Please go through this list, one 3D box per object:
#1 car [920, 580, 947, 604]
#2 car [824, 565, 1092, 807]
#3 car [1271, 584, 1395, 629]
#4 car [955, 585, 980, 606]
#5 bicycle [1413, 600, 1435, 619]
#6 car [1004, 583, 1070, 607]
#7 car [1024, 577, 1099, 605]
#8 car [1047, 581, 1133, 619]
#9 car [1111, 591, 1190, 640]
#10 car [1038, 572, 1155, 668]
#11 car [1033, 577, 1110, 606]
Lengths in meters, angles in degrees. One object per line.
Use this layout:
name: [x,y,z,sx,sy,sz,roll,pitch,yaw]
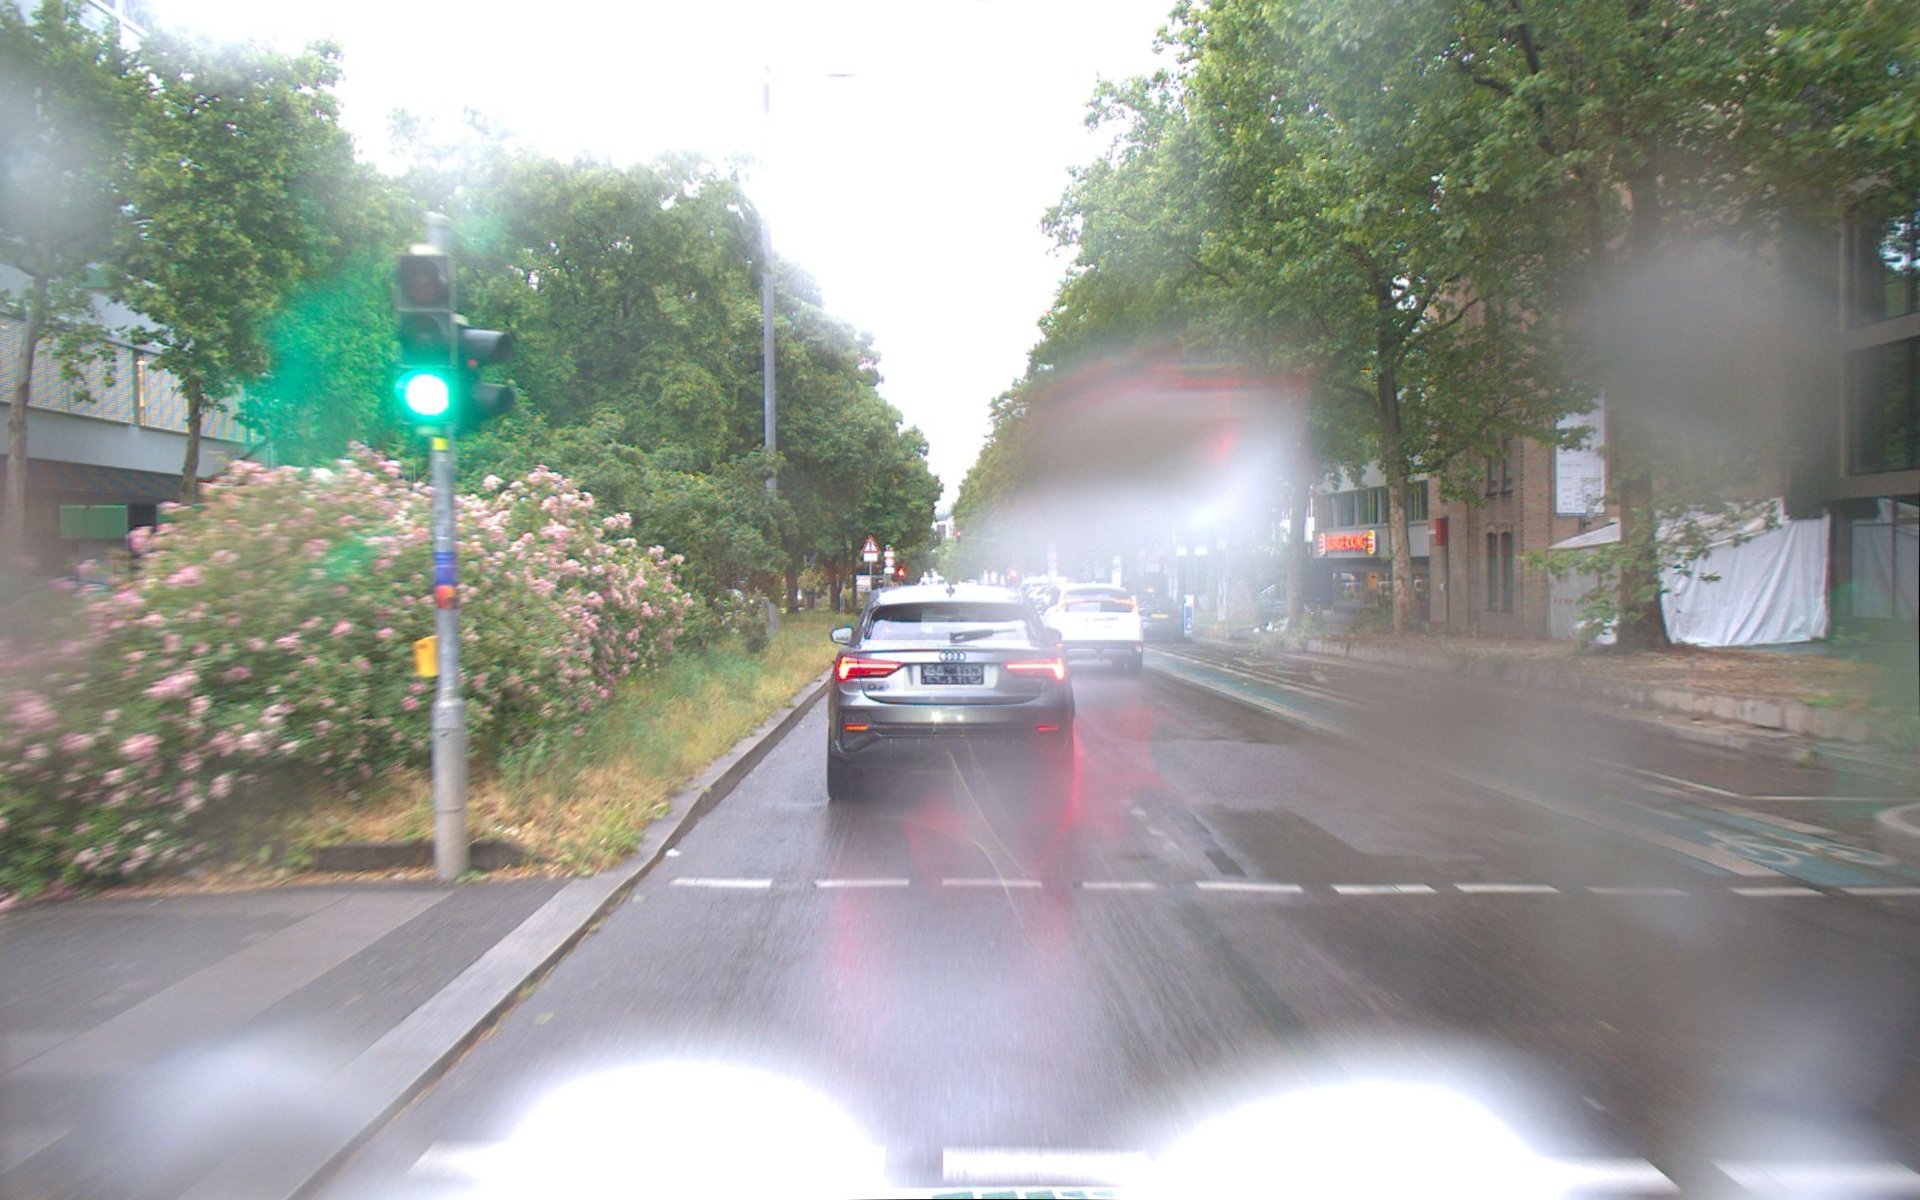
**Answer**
car: [-2.019,-0.581,125.357,1.953,1.757,3.998,1,0,-2]
car: [-0.086,0.580,13.212,1.812,1.630,3.998,0,0,-2]
car: [9.632,0.172,42.697,2.830,1.093,1.453,1,0,30]
car: [0.597,-0.368,135.073,1.953,1.680,3.999,1,0,-1]
bicycle: [21.900,0.439,78.120,0.439,0.851,2.026,1,0,-1]
car: [5.818,-0.357,124.707,4.548,1.736,1.998,1,0,26]
car: [6.800,-0.614,110.799,4.548,1.736,1.998,1,0,26]
car: [7.348,-0.009,93.454,4.517,2.049,1.960,1,-1,37]
car: [6.008,0.463,52.603,1.835,1.446,4.610,1,0,-1]
car: [2.598,0.374,32.345,1.840,1.727,3.999,1,0,-1]
car: [7.246,-0.541,107.238,4.548,1.736,1.998,1,0,26]
